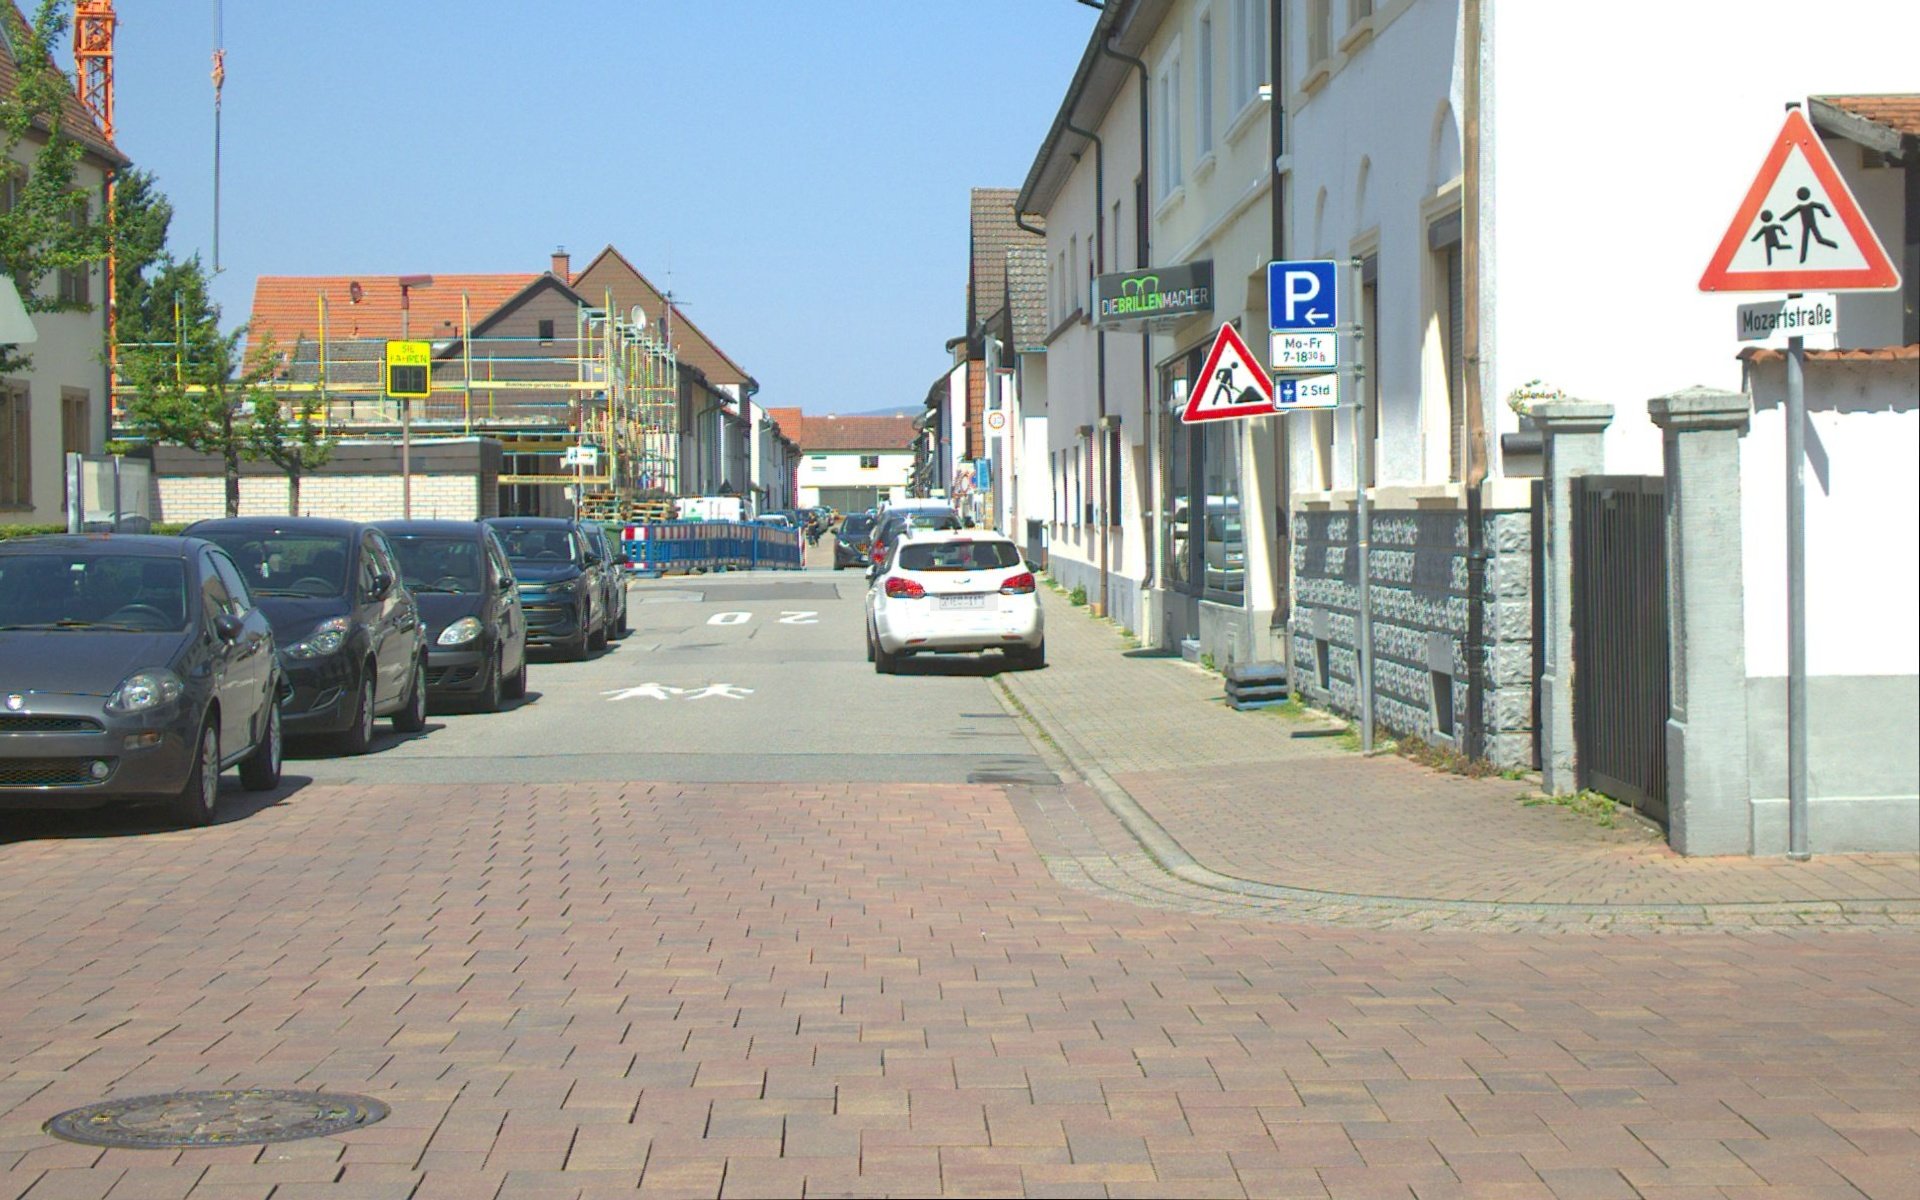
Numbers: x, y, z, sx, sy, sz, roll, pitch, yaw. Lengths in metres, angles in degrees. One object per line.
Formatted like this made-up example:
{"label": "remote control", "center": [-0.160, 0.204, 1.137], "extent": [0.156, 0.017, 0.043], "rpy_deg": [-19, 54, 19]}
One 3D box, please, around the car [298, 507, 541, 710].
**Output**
{"label": "car", "center": [-4.668, 0.020, 30.120], "extent": [1.637, 1.623, 3.769], "rpy_deg": [-1, 2, -2]}

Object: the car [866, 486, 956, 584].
{"label": "car", "center": [-0.912, -1.203, 62.294], "extent": [1.564, 1.607, 3.543], "rpy_deg": [-1, 4, -2]}

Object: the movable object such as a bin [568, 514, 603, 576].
{"label": "movable object such as a bin", "center": [-7.145, -1.053, 65.521], "extent": [0.621, 1.151, 0.677], "rpy_deg": [-1, 2, -8]}

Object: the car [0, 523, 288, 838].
{"label": "car", "center": [-4.722, 0.350, 18.565], "extent": [1.702, 1.491, 3.858], "rpy_deg": [-1, 2, -5]}

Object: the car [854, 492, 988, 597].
{"label": "car", "center": [-0.688, -0.948, 57.025], "extent": [1.884, 1.550, 3.895], "rpy_deg": [-4, 2, -4]}

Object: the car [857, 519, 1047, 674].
{"label": "car", "center": [-0.030, -0.083, 37.267], "extent": [1.886, 1.536, 4.243], "rpy_deg": [-1, 2, 2]}

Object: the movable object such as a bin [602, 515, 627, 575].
{"label": "movable object such as a bin", "center": [-6.629, -1.056, 66.024], "extent": [0.431, 1.151, 0.364], "rpy_deg": [-1, 2, -11]}

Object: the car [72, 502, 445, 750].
{"label": "car", "center": [-4.878, 0.114, 24.443], "extent": [1.815, 1.599, 4.025], "rpy_deg": [-1, 2, 0]}

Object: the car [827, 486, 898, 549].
{"label": "car", "center": [-2.676, -2.243, 93.399], "extent": [1.881, 1.662, 4.154], "rpy_deg": [0, 2, -2]}

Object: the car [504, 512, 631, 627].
{"label": "car", "center": [-5.252, -0.441, 46.329], "extent": [1.436, 1.469, 3.787], "rpy_deg": [0, 2, -3]}

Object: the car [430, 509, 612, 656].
{"label": "car", "center": [-5.162, -0.251, 40.895], "extent": [1.826, 1.625, 4.218], "rpy_deg": [-1, 2, -3]}
